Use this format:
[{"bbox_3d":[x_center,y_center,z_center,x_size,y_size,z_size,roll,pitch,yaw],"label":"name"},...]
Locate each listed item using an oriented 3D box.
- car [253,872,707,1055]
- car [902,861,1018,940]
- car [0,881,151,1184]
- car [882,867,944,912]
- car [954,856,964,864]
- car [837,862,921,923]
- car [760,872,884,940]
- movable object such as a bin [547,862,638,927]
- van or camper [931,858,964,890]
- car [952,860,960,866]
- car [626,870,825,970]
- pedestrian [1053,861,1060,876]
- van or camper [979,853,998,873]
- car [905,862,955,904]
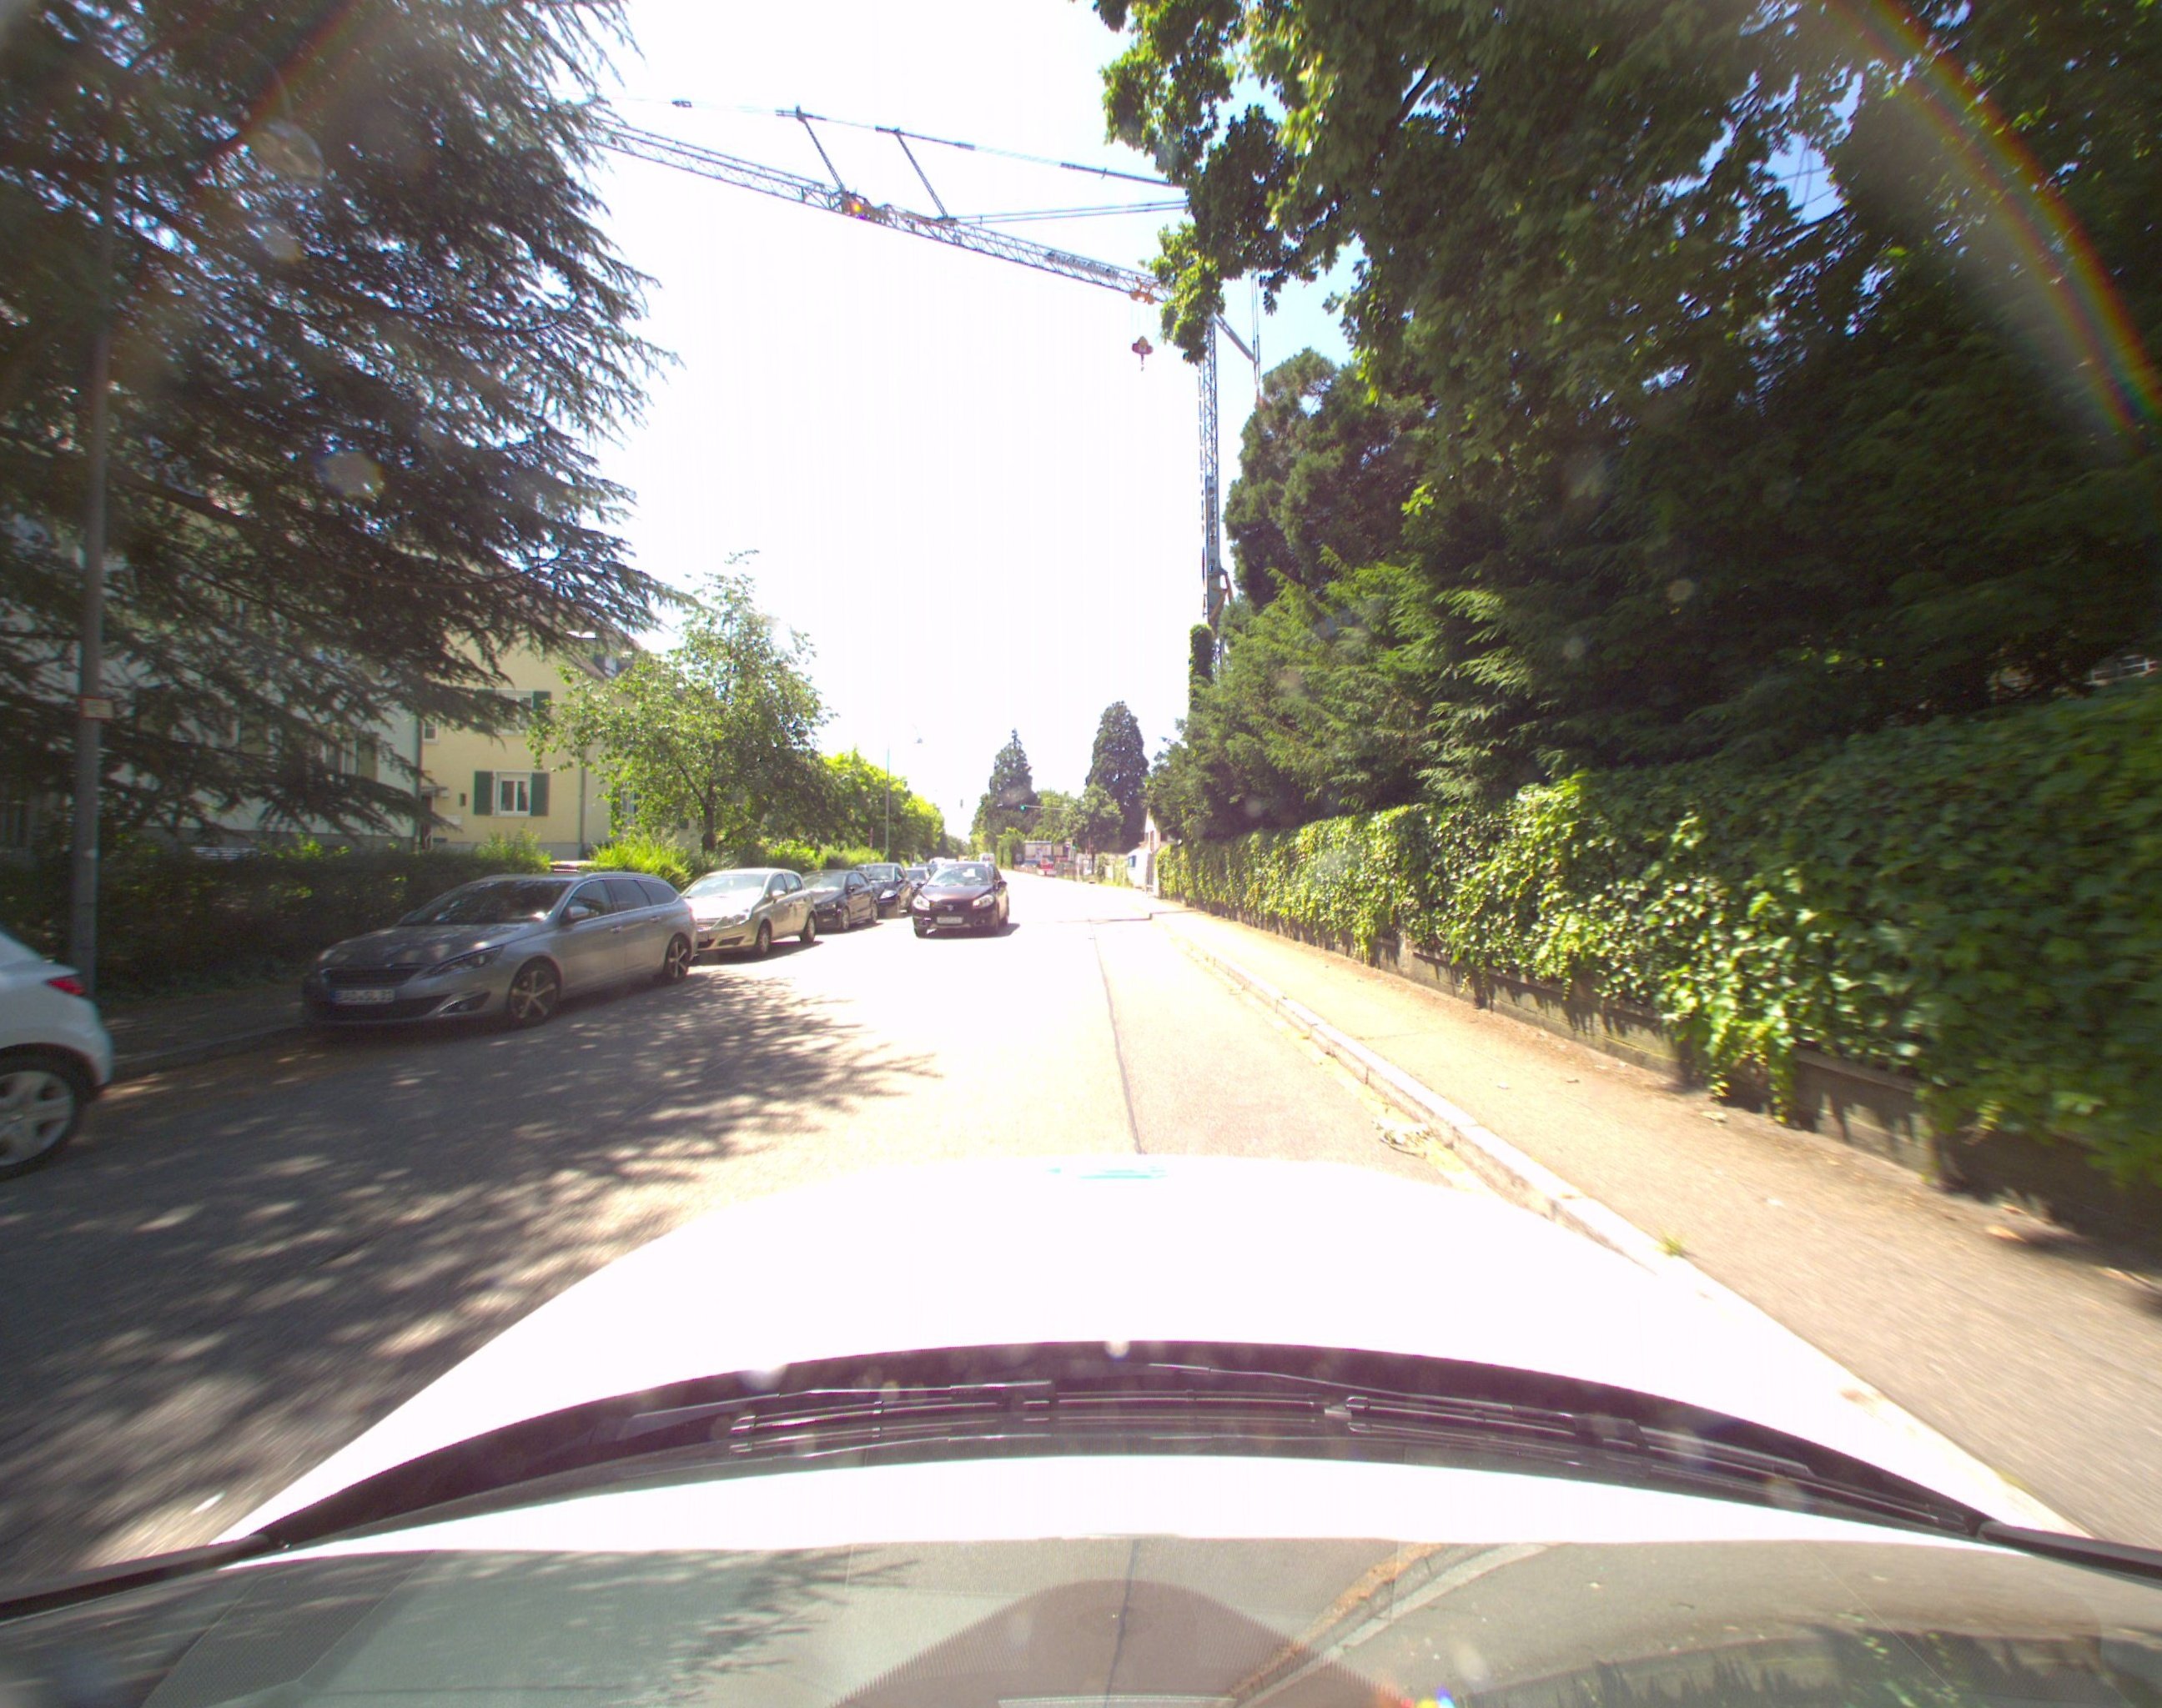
[{"bbox_3d":[-6.030,0.968,8.981,1.790,1.442,4.272,-1,-1,0],"label":"car"},{"bbox_3d":[-2.591,0.957,18.437,1.892,1.575,4.142,-1,-1,1],"label":"car"},{"bbox_3d":[-6.139,0.877,2.606,1.790,1.442,3.897,-1,-1,1],"label":"car"},{"bbox_3d":[-6.097,1.261,29.971,1.678,1.476,4.322,-1,-1,-5],"label":"car"},{"bbox_3d":[-28.353,1.419,188.682,1.995,1.662,3.983,1,-1,-12],"label":"car"},{"bbox_3d":[-5.967,1.088,24.412,1.677,1.639,3.786,-1,-1,-2],"label":"car"},{"bbox_3d":[-6.054,1.165,19.488,1.675,1.401,3.789,-1,-1,0],"label":"car"},{"bbox_3d":[-9.459,0.758,15.825,1.296,1.200,0.968,-1,-1,-17],"label":"movable object such as a bin"},{"bbox_3d":[-7.839,1.151,48.019,1.679,1.804,3.975,-1,-1,-7],"label":"van or camper"},{"bbox_3d":[-35.082,2.450,228.006,1.995,1.662,3.983,1,-1,-12],"label":"car"},{"bbox_3d":[-6.046,1.050,14.385,1.790,1.442,3.784,-1,-1,0],"label":"car"},{"bbox_3d":[-2.617,1.519,87.377,0.695,1.600,0.570,2,-1,-11],"label":"pedestrian"},{"bbox_3d":[-12.266,1.200,107.801,2.262,2.528,4.744,-1,-1,-9],"label":"van or camper"},{"bbox_3d":[-6.494,1.208,35.371,1.678,1.637,4.322,-1,-1,-5],"label":"car"}]
